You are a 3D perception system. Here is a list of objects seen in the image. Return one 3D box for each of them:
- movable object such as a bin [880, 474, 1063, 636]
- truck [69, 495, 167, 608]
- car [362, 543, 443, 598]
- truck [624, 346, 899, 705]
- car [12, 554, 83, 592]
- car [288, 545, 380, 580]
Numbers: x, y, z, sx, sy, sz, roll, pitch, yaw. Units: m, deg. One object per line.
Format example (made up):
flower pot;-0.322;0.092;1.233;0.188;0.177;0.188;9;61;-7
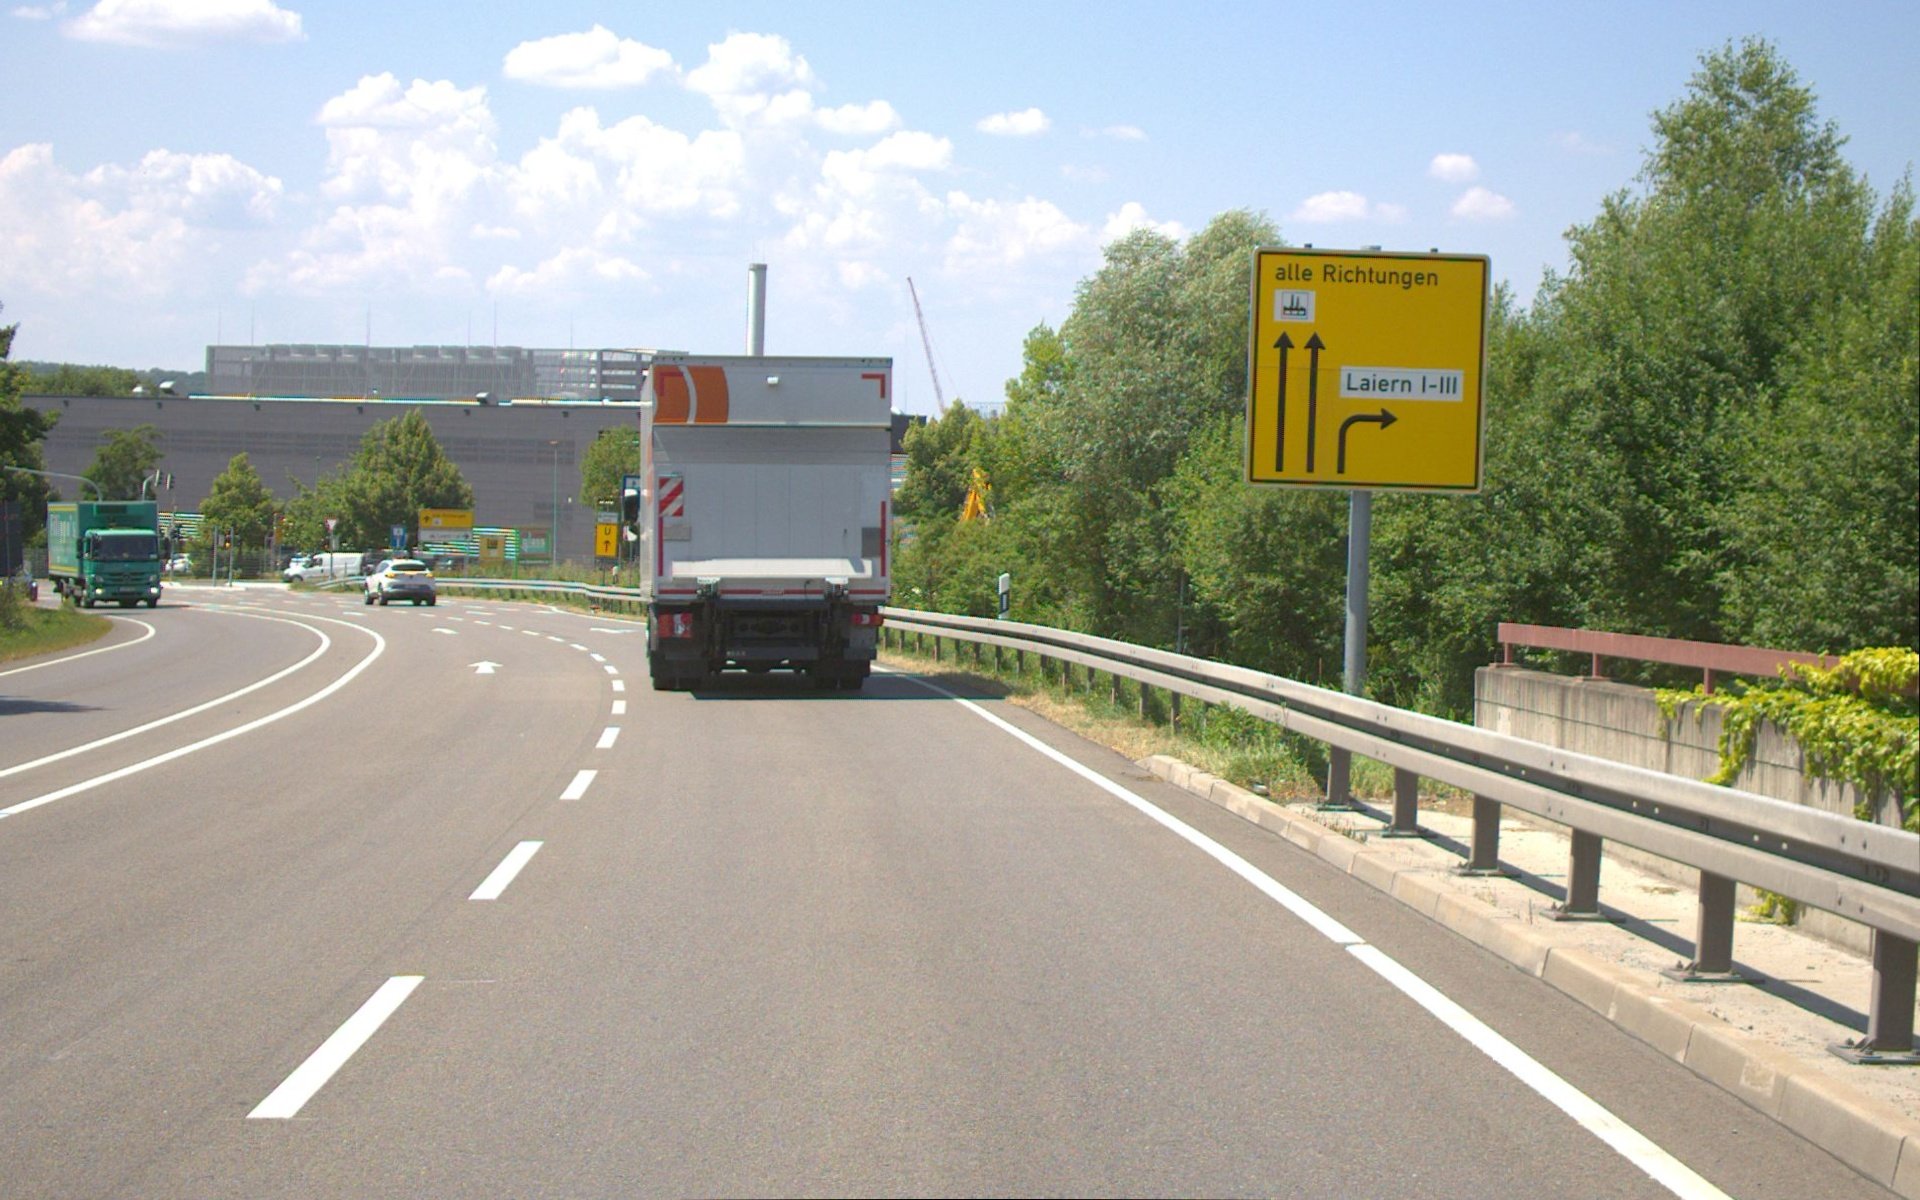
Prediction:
movable object such as a bin;0.315;-1.678;122.593;3.423;5.242;9.232;2;2;-19
truck;-27.797;-1.598;113.256;2.868;3.562;9.434;0;1;-15
car;-18.299;-0.983;112.780;1.943;1.658;4.001;3;0;-18
truck;-2.259;-0.865;40.427;2.803;3.698;9.109;1;1;-2
car;-34.810;-1.035;131.262;1.877;1.437;4.330;0;1;-4
car;-35.214;-2.084;193.435;4.745;1.925;2.154;0;0;-1
